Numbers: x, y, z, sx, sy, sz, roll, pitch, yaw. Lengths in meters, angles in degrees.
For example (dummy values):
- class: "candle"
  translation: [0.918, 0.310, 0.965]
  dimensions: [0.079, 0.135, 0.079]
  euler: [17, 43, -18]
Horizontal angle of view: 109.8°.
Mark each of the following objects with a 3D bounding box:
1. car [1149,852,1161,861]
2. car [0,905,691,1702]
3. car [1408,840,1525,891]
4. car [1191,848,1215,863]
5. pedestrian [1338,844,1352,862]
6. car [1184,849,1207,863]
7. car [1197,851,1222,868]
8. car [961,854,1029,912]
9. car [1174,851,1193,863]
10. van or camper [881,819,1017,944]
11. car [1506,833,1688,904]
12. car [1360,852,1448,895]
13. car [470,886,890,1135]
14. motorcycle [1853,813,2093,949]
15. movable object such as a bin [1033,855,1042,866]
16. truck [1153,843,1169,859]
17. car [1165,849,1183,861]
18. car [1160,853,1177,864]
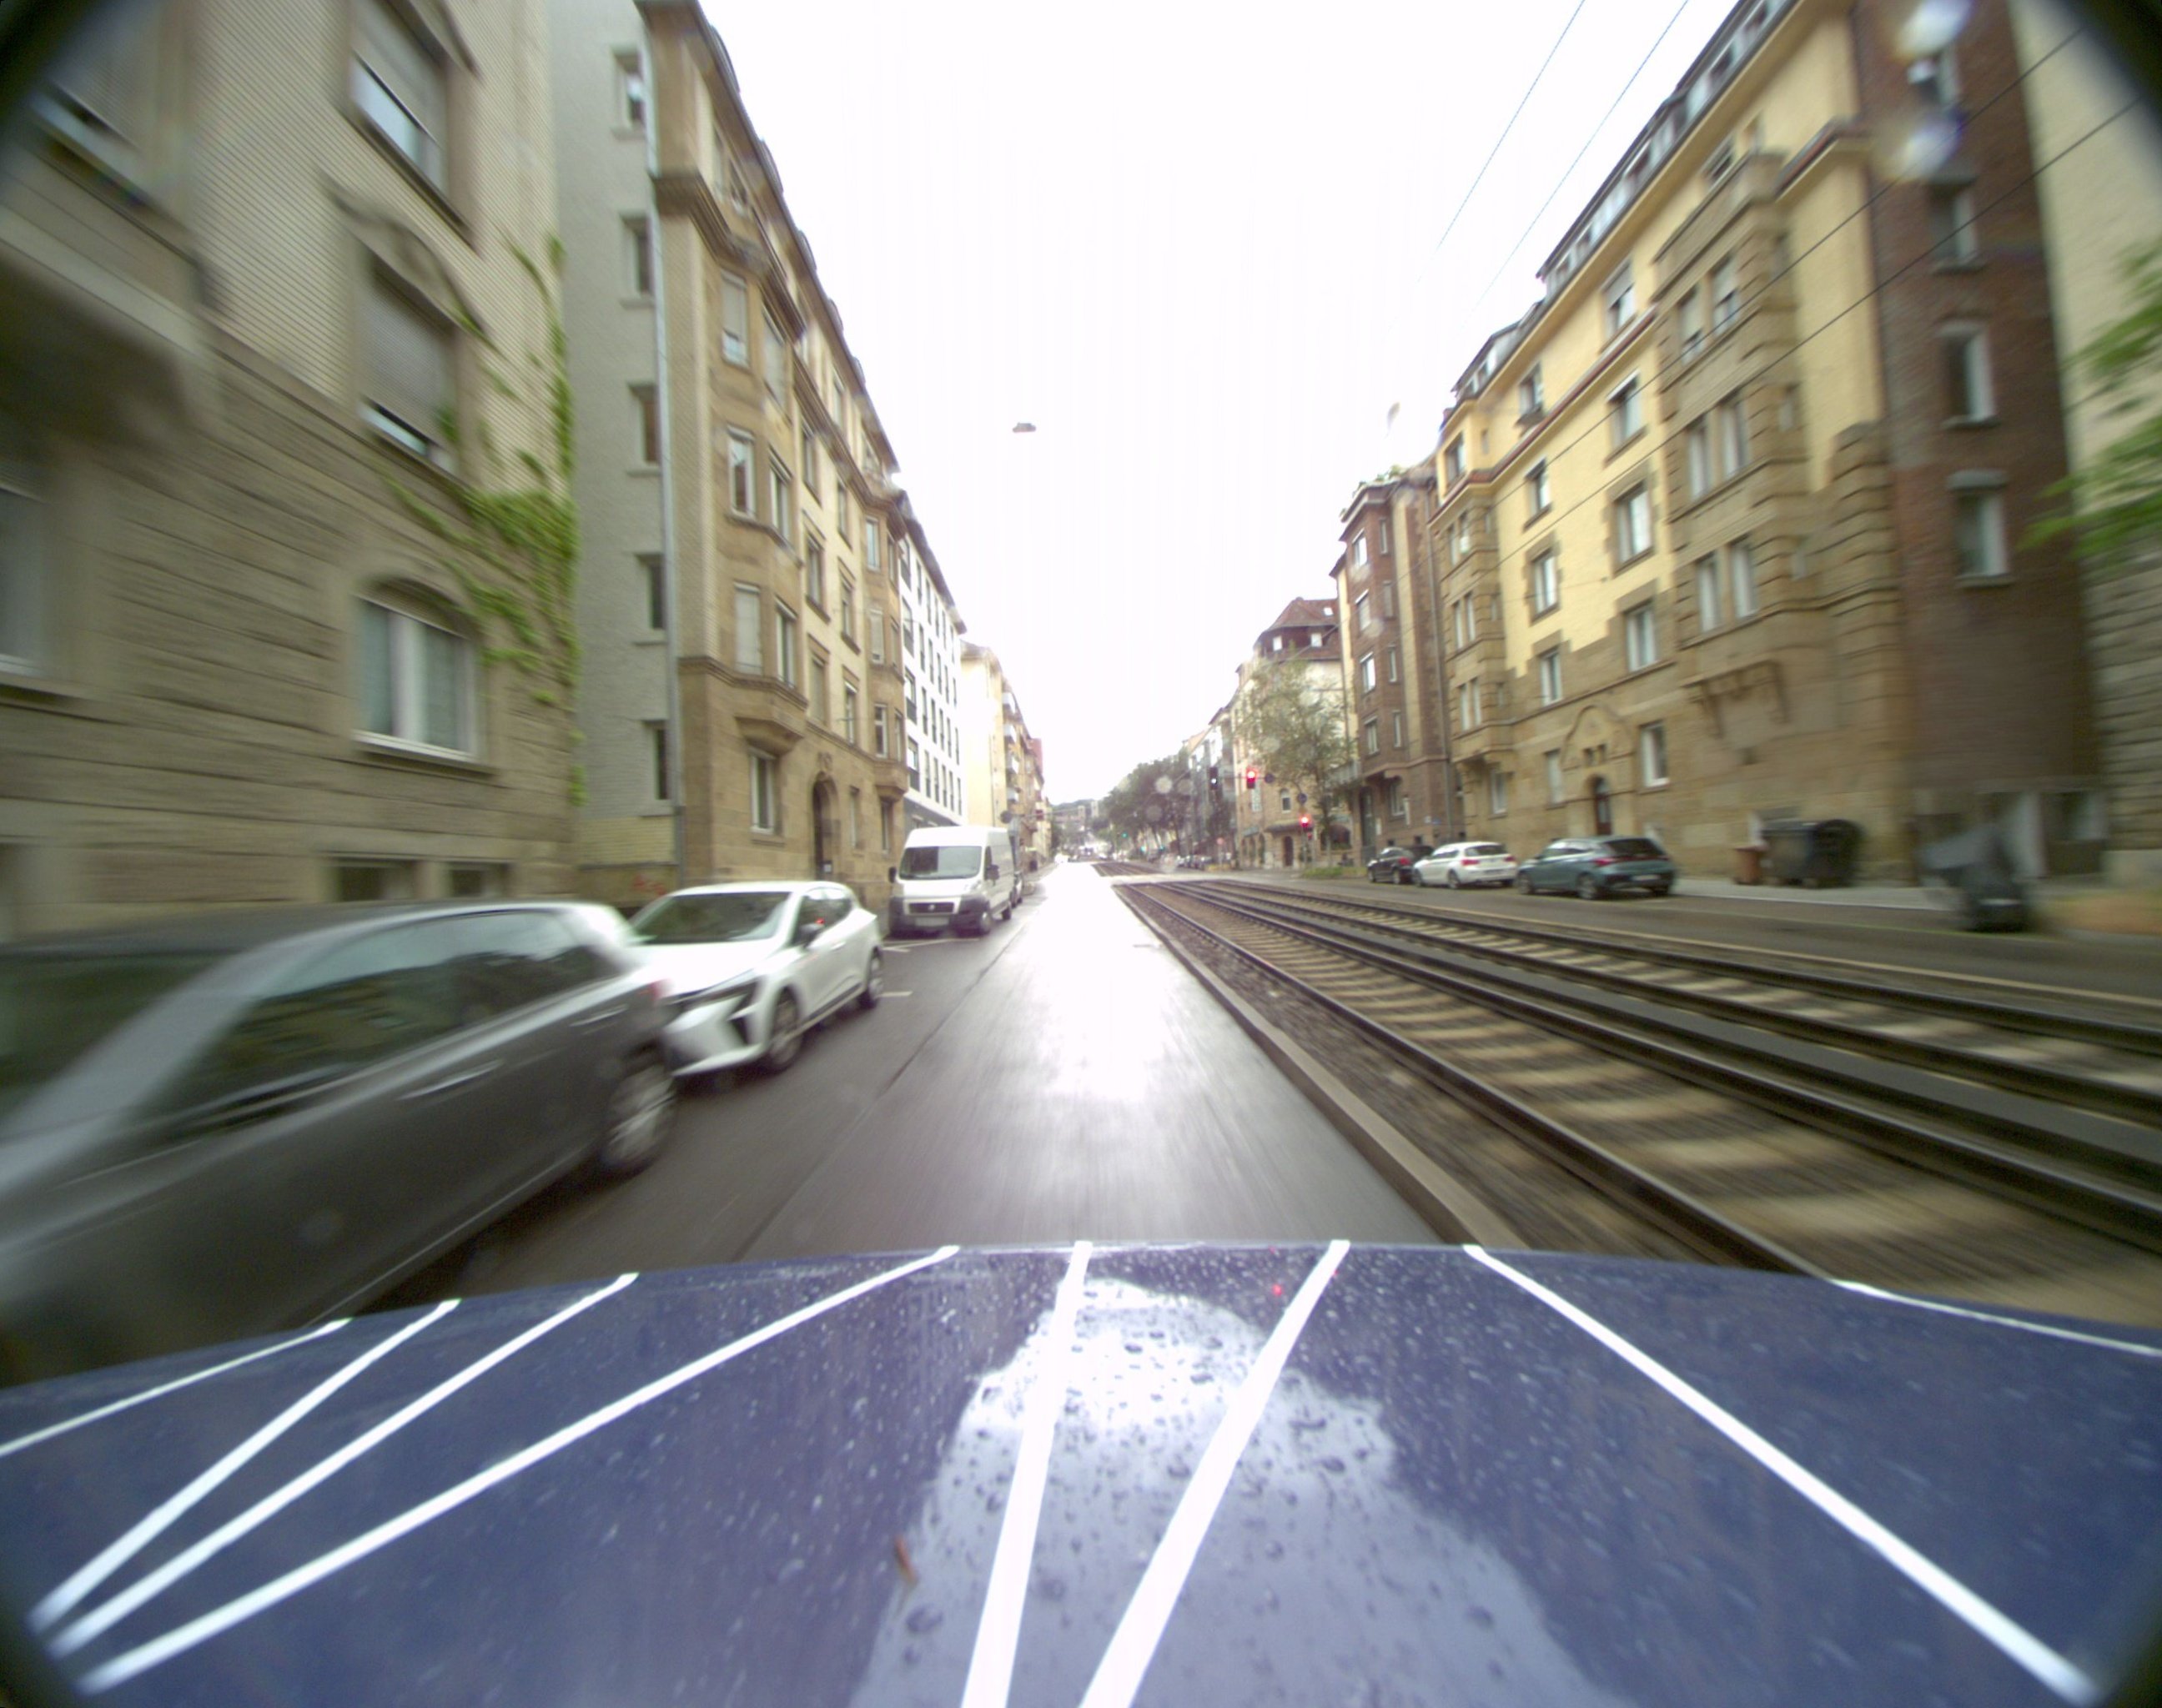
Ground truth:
- class: "car"
  translation: [13.278, 0.395, 137.049]
  dimensions: [1.709, 1.451, 4.360]
  euler: [-4, 0, 0]
- class: "car"
  translation: [-3.228, 1.041, 2.299]
  dimensions: [1.999, 1.433, 3.999]
  euler: [-2, 0, 0]
- class: "car"
  translation: [12.272, 0.334, 24.524]
  dimensions: [1.671, 1.417, 4.263]
  euler: [-3, 0, 2]
- class: "car"
  translation: [12.789, 0.183, 79.923]
  dimensions: [1.812, 1.489, 3.525]
  euler: [-3, 0, -1]
- class: "pedestrian"
  translation: [20.997, -0.093, 60.418]
  dimensions: [0.819, 1.407, 0.721]
  euler: [-3, 0, 4]
- class: "car"
  translation: [12.810, 0.258, 84.914]
  dimensions: [1.805, 1.446, 4.430]
  euler: [-3, 0, 0]
- class: "car"
  translation: [12.767, 0.518, 75.676]
  dimensions: [1.769, 1.543, 3.894]
  euler: [-3, 0, 0]
- class: "car"
  translation: [-2.952, 0.946, 26.912]
  dimensions: [1.773, 1.797, 4.482]
  euler: [-3, 0, 0]
- class: "car"
  translation: [12.673, 0.350, 94.130]
  dimensions: [1.706, 1.328, 4.130]
  euler: [-5, 0, 1]
- class: "van or camper"
  translation: [-2.927, 0.544, 18.417]
  dimensions: [2.069, 2.454, 6.118]
  euler: [-2, 0, 1]
- class: "car"
  translation: [12.288, 0.305, 18.459]
  dimensions: [1.565, 1.429, 4.146]
  euler: [-4, 0, 1]
- class: "car"
  translation: [12.489, 0.690, 29.671]
  dimensions: [1.769, 1.477, 4.000]
  euler: [-2, 1, 1]
- class: "car"
  translation: [-3.113, 1.105, 6.947]
  dimensions: [1.680, 1.403, 4.000]
  euler: [-2, 0, 0]
- class: "motorcycle"
  translation: [12.175, 0.323, 10.411]
  dimensions: [2.268, 1.633, 1.291]
  euler: [-3, 0, -16]
- class: "movable object such as a bin"
  translation: [-5.547, 0.804, 97.270]
  dimensions: [1.011, 1.443, 1.393]
  euler: [0, 1, 0]
- class: "truck"
  translation: [13.350, -0.548, 126.915]
  dimensions: [2.197, 2.332, 6.351]
  euler: [-2, 2, 2]
- class: "car"
  translation: [12.881, 0.074, 105.519]
  dimensions: [1.781, 1.560, 4.158]
  euler: [-2, 0, -1]
- class: "car"
  translation: [12.997, 0.646, 112.755]
  dimensions: [1.911, 1.432, 4.468]
  euler: [-2, 0, -1]
